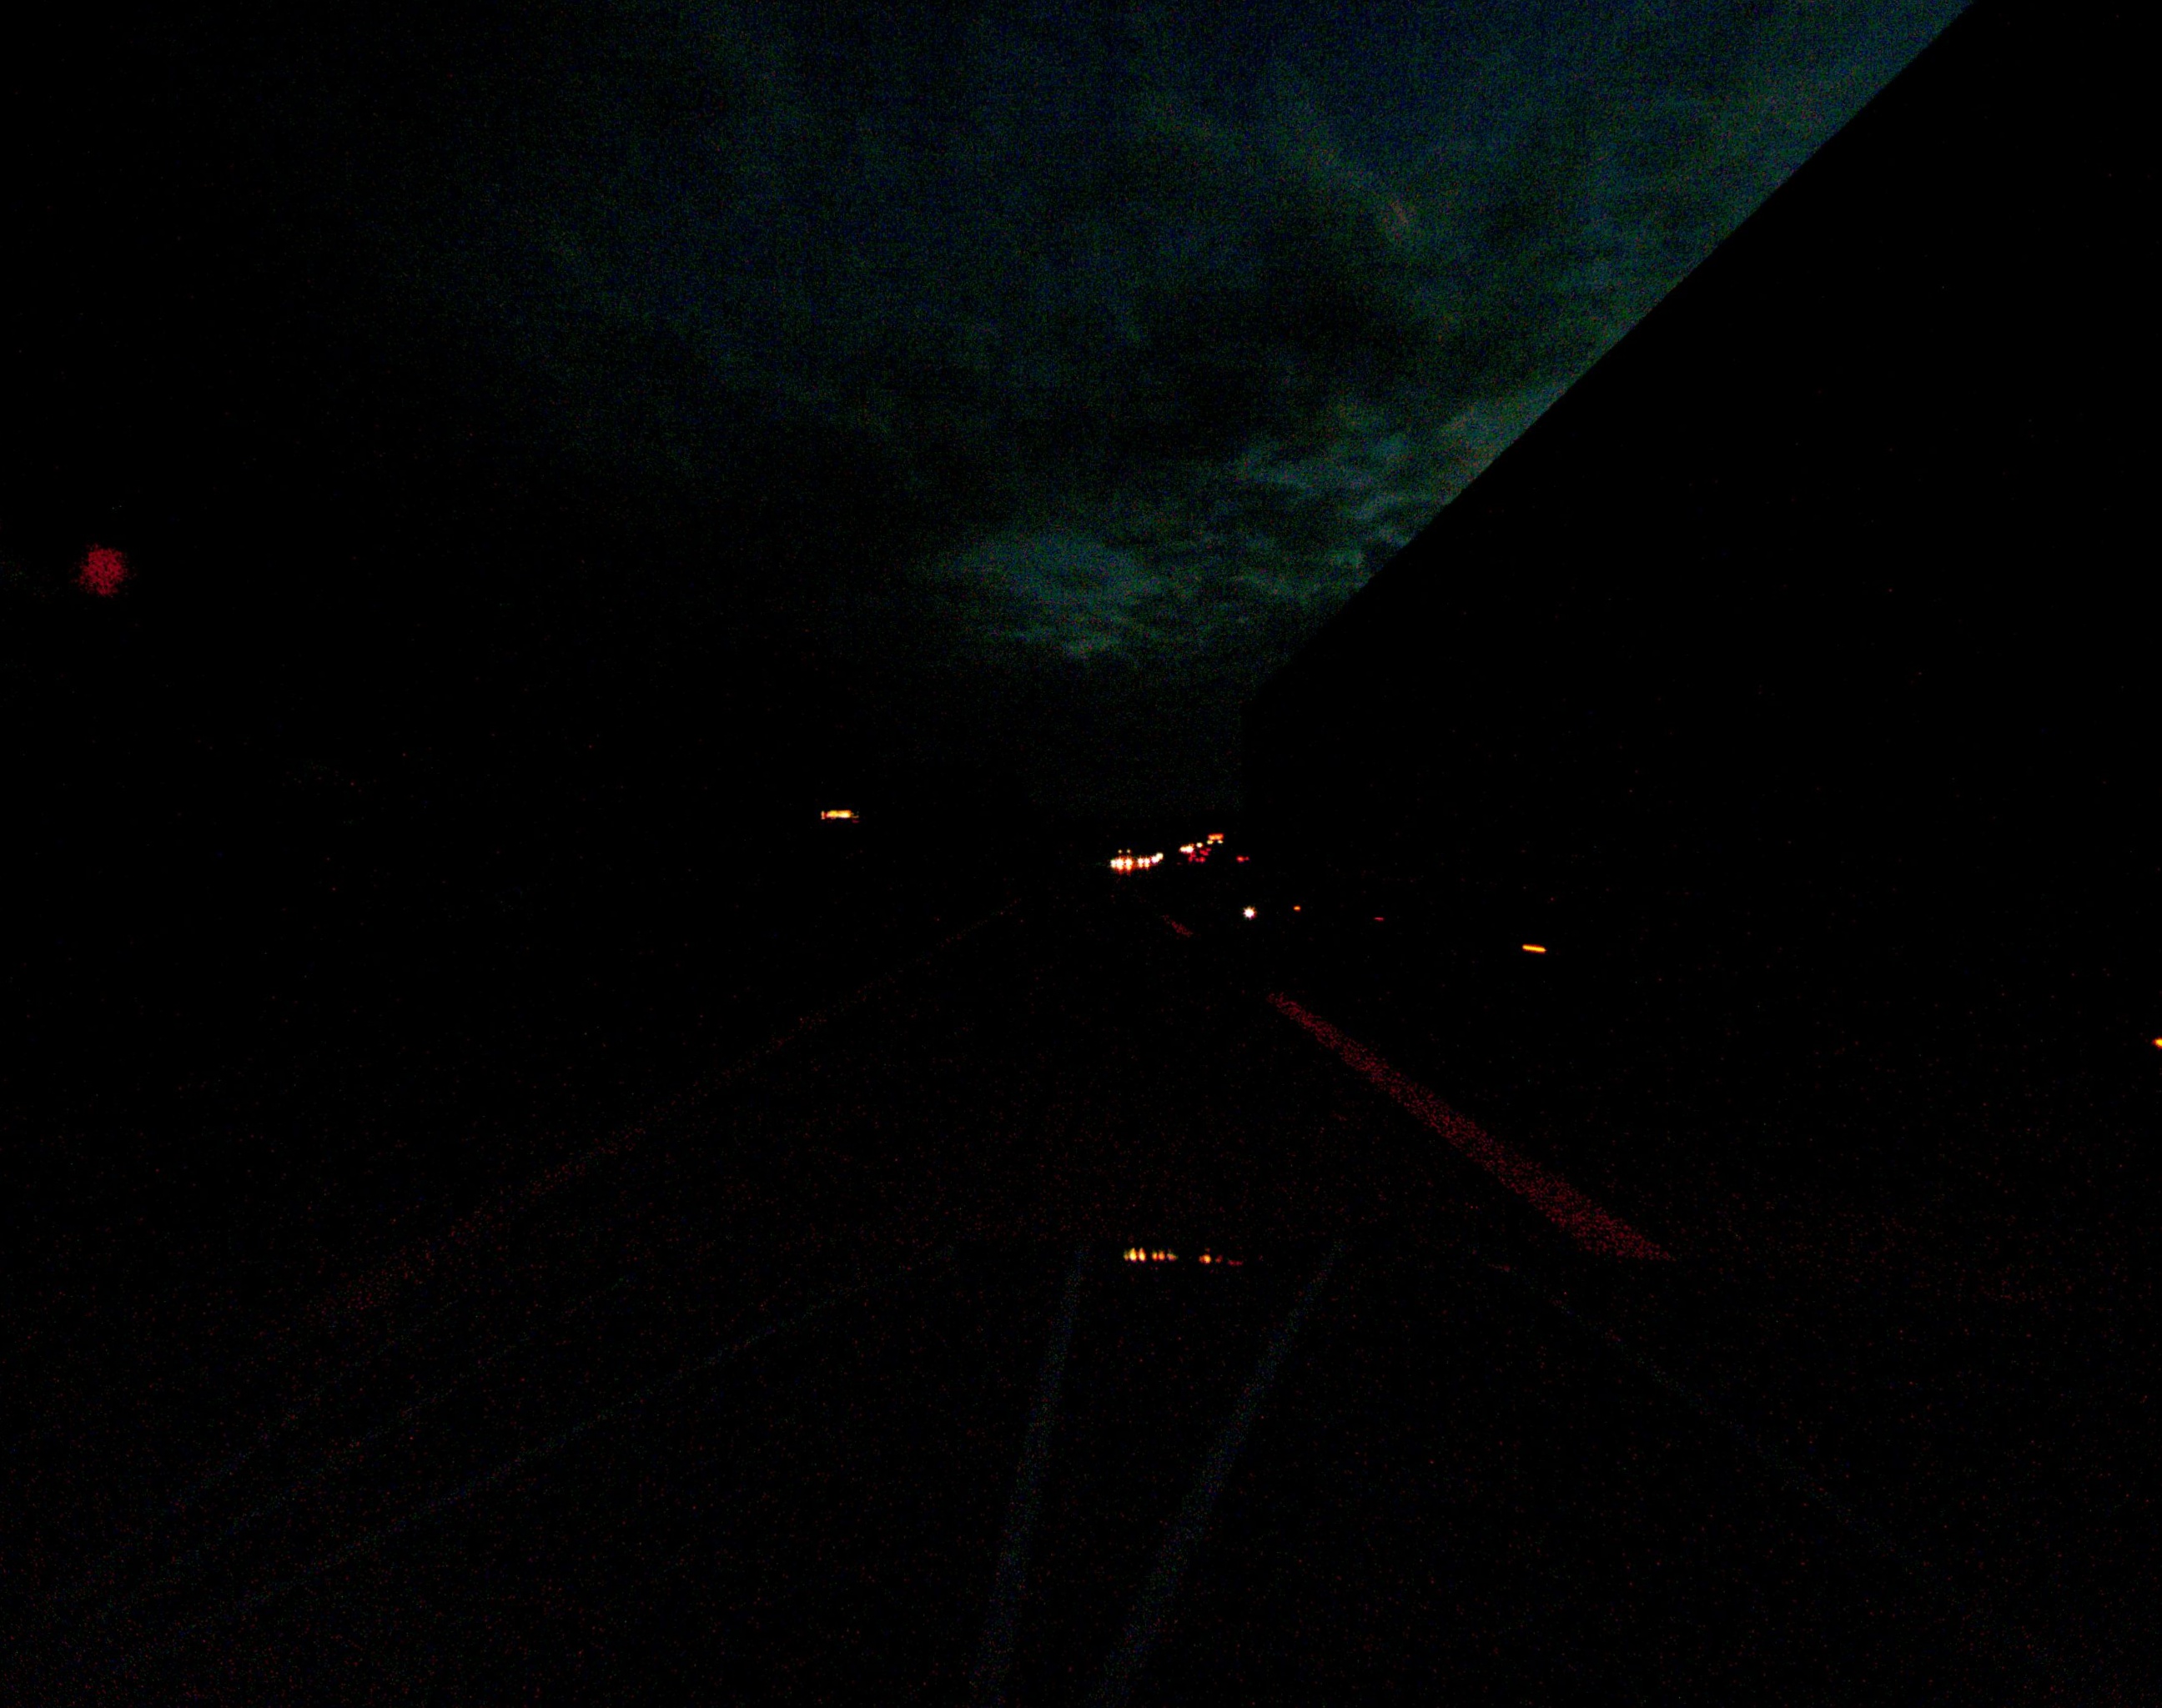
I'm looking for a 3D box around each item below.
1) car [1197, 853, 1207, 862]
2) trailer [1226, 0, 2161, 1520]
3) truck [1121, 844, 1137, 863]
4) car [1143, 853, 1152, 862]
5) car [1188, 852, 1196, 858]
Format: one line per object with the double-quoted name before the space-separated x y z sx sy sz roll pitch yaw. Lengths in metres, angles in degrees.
"car" 28.512 0.747 179.113 1.998 2.002 4.489 -2 0 3
"trailer" 3.923 -0.360 5.329 2.781 3.892 14.818 -2 0 0
"truck" 11.216 -0.096 177.479 3.352 4.293 11.328 -1 0 4
"car" 16.510 0.900 189.493 1.998 2.002 4.001 -1 0 3
"car" 37.582 0.403 257.278 1.998 1.706 4.001 -3 0 4
